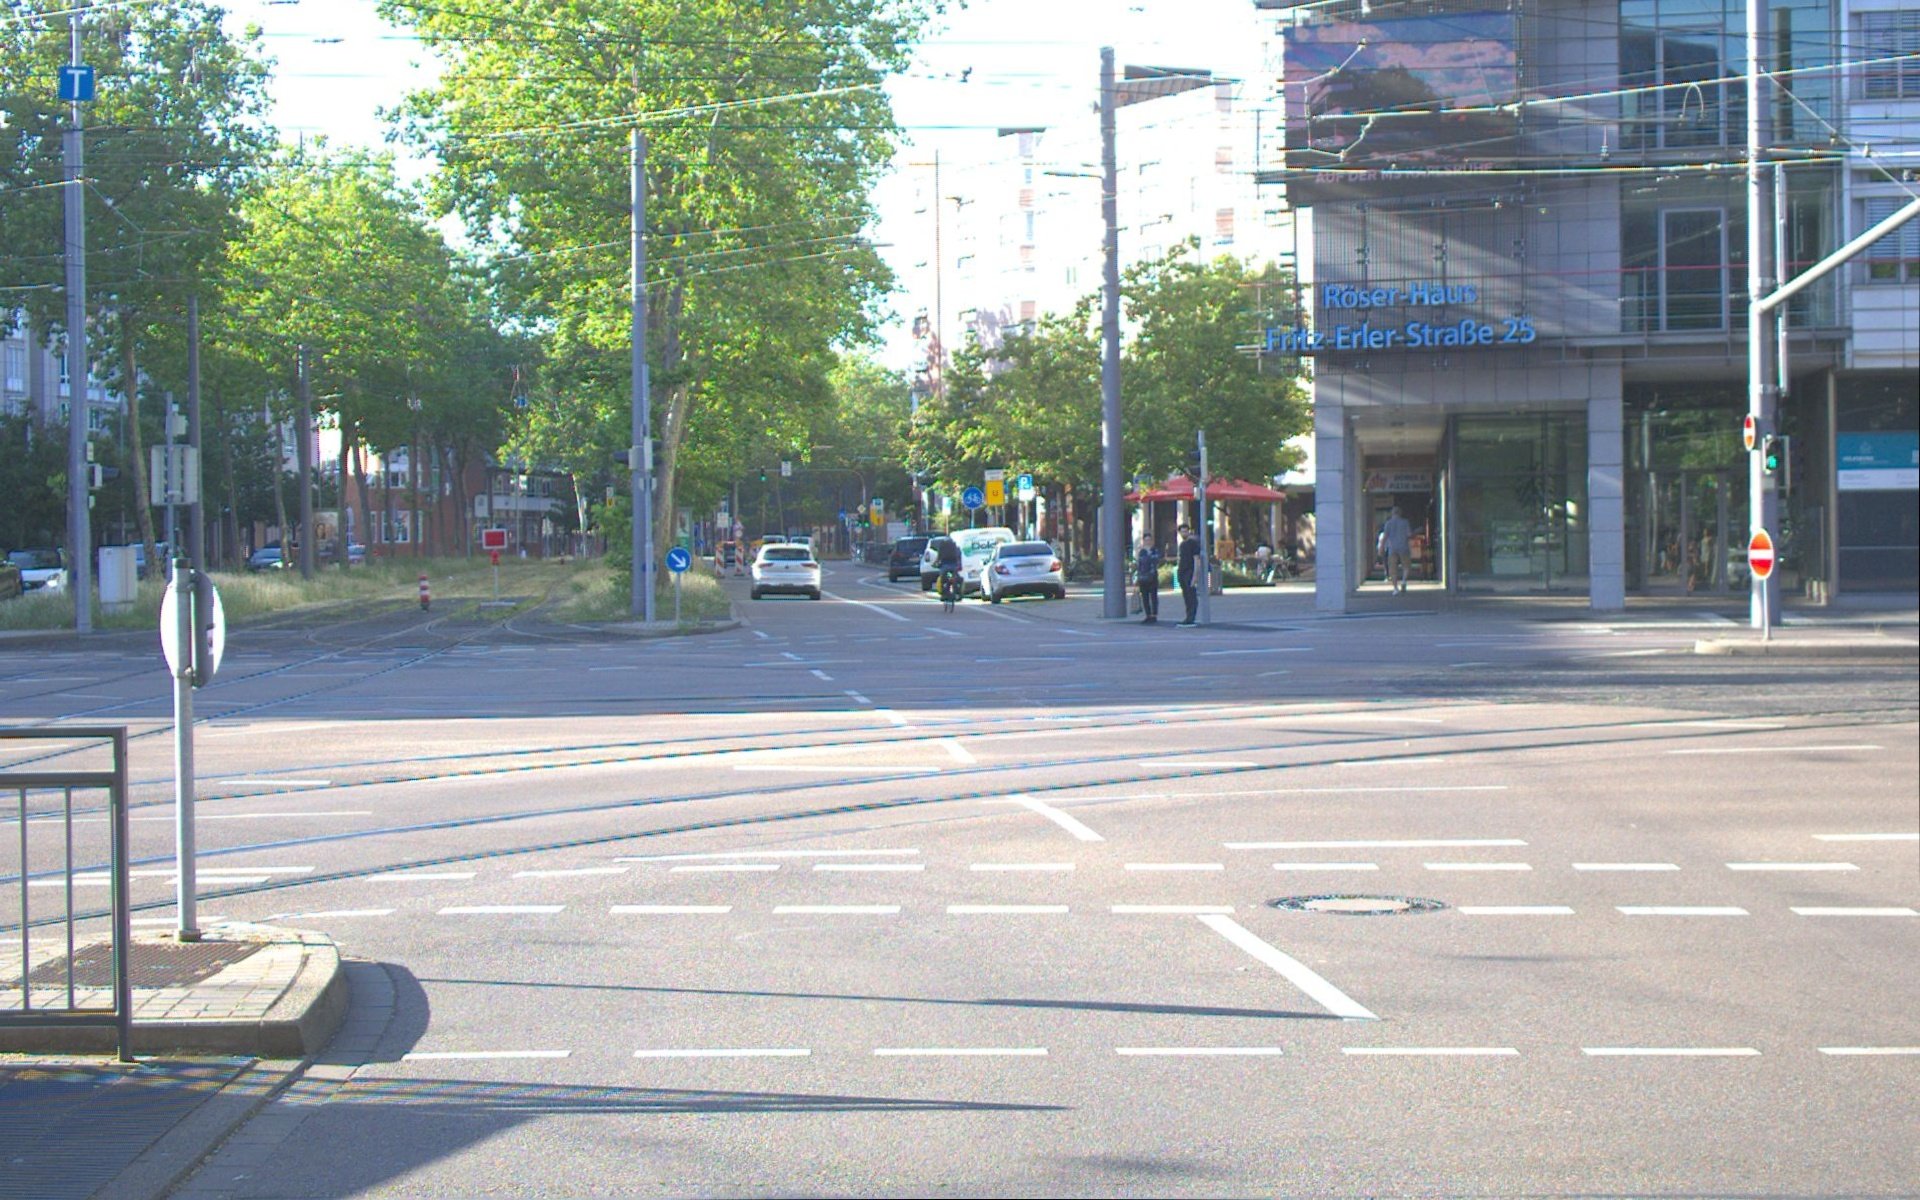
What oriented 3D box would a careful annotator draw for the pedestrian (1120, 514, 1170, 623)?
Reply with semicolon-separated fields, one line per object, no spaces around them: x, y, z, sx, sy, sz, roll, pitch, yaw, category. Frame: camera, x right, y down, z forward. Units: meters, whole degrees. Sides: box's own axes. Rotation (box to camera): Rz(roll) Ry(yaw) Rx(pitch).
3.463;-0.591;64.312;0.849;2.007;0.708;1;0;-1;pedestrian

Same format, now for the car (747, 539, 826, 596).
-4.431;-0.853;88.267;1.748;1.413;4.000;0;1;1;car

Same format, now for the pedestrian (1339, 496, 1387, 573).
11.583;-1.882;98.790;1.313;2.182;1.170;1;0;6;pedestrian

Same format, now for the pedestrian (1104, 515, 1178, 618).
3.466;-0.642;66.099;1.342;1.944;1.011;-1;0;-1;pedestrian

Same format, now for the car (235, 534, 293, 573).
-32.365;-2.179;159.899;1.910;1.777;4.000;-1;1;-1;car

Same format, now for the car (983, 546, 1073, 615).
1.608;-0.484;82.775;2.029;1.590;4.000;1;1;-1;car

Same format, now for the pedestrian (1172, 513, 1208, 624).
4.204;-0.580;62.776;0.586;2.007;0.620;1;0;0;pedestrian

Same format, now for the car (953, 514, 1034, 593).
0.851;-1.205;89.699;1.993;2.007;4.000;1;1;-1;car

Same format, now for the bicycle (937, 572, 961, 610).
-0.241;-0.201;72.285;0.490;0.785;1.862;0;1;-1;bicycle

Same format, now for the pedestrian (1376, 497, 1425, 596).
9.095;-1.103;70.975;0.869;2.007;0.794;1;-1;-1;pedestrian

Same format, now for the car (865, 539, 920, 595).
-2.474;-1.226;126.632;1.993;2.007;4.000;1;1;-1;car

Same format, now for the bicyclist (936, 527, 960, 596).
-0.245;-0.798;72.002;0.486;1.434;0.615;1;0;-1;bicyclist

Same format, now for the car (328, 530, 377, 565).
-31.483;-2.721;178.376;1.844;1.777;4.000;-1;1;-1;car

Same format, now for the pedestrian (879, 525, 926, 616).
-1.087;-0.556;65.344;0.869;1.702;0.794;1;0;-1;pedestrian

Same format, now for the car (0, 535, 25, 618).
-21.649;-0.514;74.983;1.822;1.784;4.001;-1;1;-7;car

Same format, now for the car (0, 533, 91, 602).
-22.145;-0.792;83.034;1.676;1.601;4.001;1;1;-6;car
